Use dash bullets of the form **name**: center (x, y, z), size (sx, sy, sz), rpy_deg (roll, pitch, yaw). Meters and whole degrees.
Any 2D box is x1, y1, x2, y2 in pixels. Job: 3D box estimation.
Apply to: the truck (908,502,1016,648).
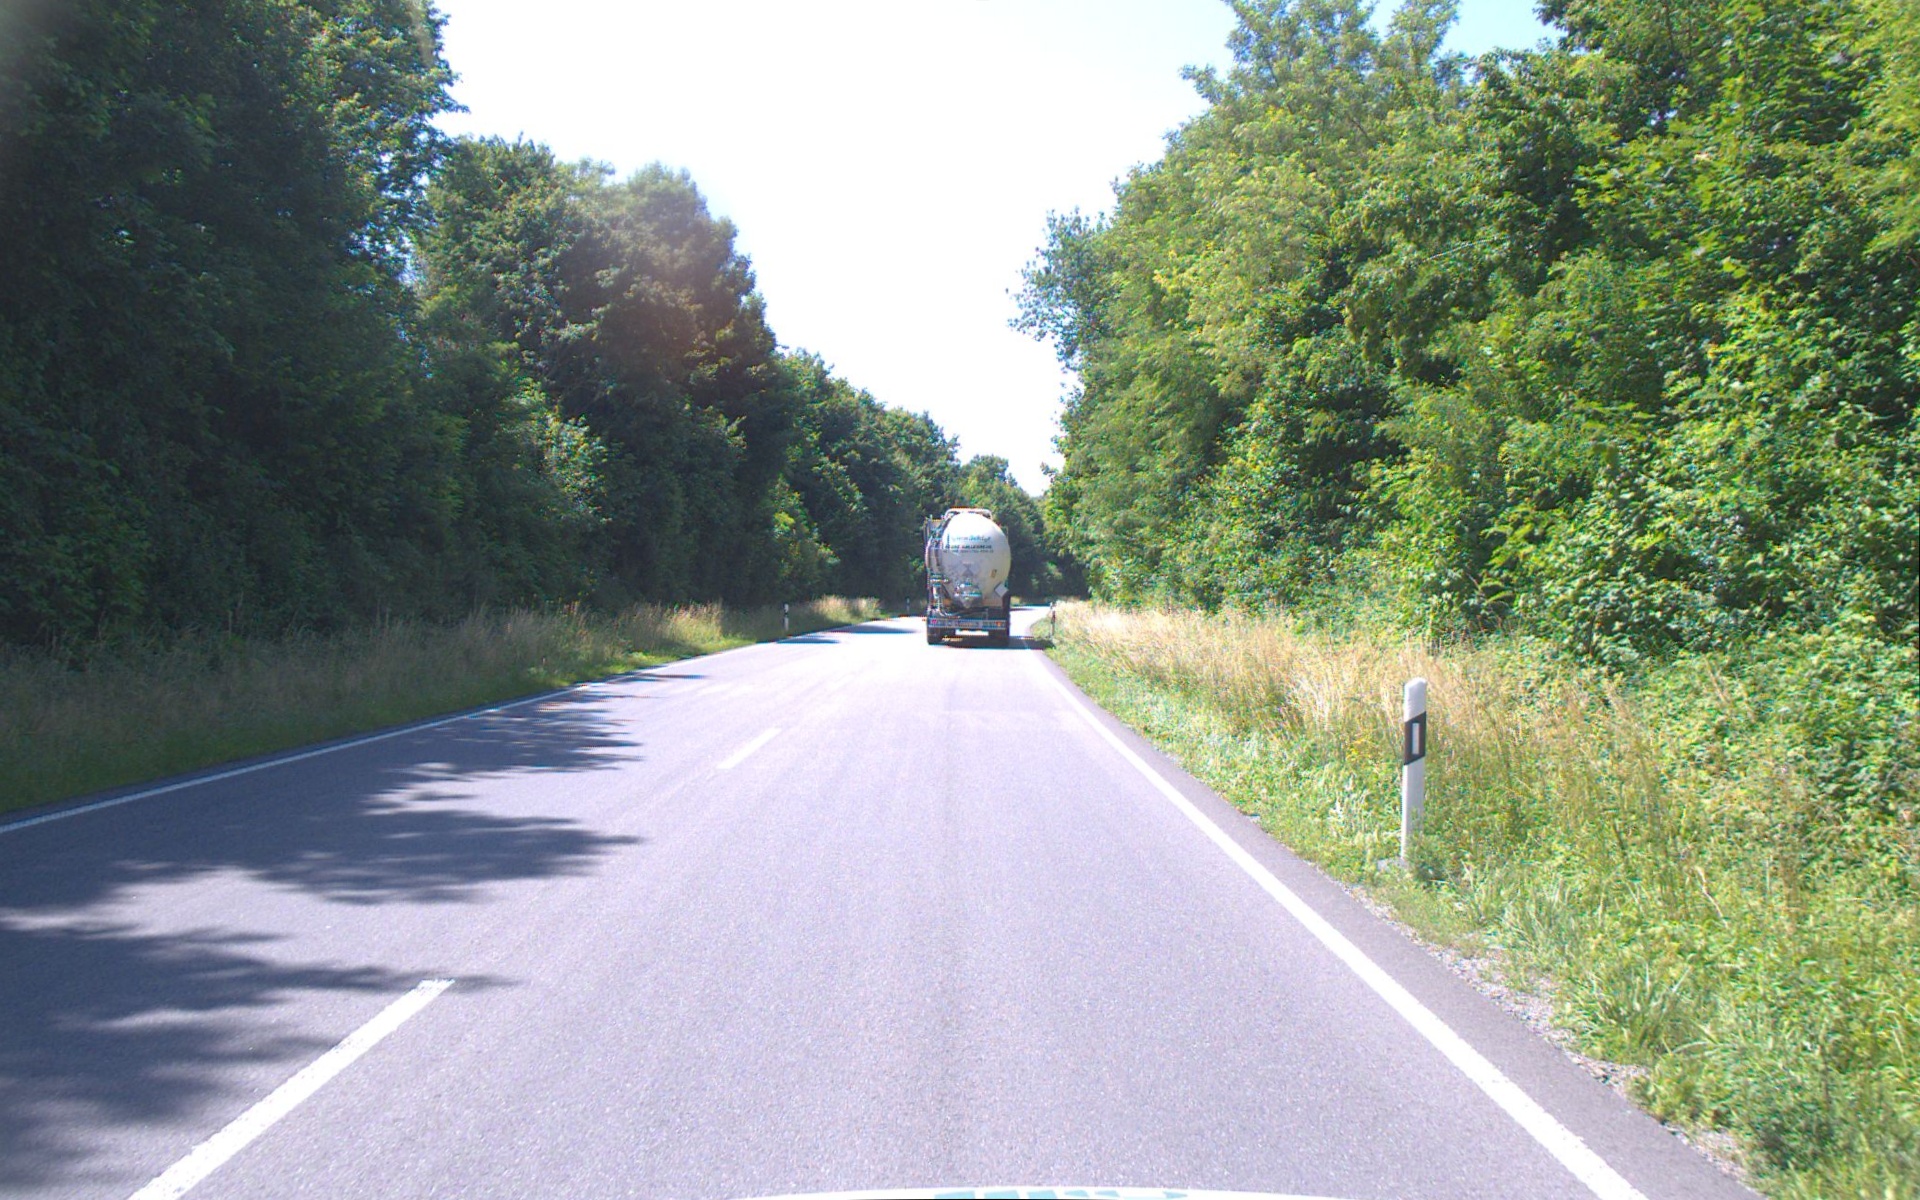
- **truck**: center (-0.117, -0.749, 54.628), size (2.987, 4.068, 15.632), rpy_deg (1, 0, -1)
